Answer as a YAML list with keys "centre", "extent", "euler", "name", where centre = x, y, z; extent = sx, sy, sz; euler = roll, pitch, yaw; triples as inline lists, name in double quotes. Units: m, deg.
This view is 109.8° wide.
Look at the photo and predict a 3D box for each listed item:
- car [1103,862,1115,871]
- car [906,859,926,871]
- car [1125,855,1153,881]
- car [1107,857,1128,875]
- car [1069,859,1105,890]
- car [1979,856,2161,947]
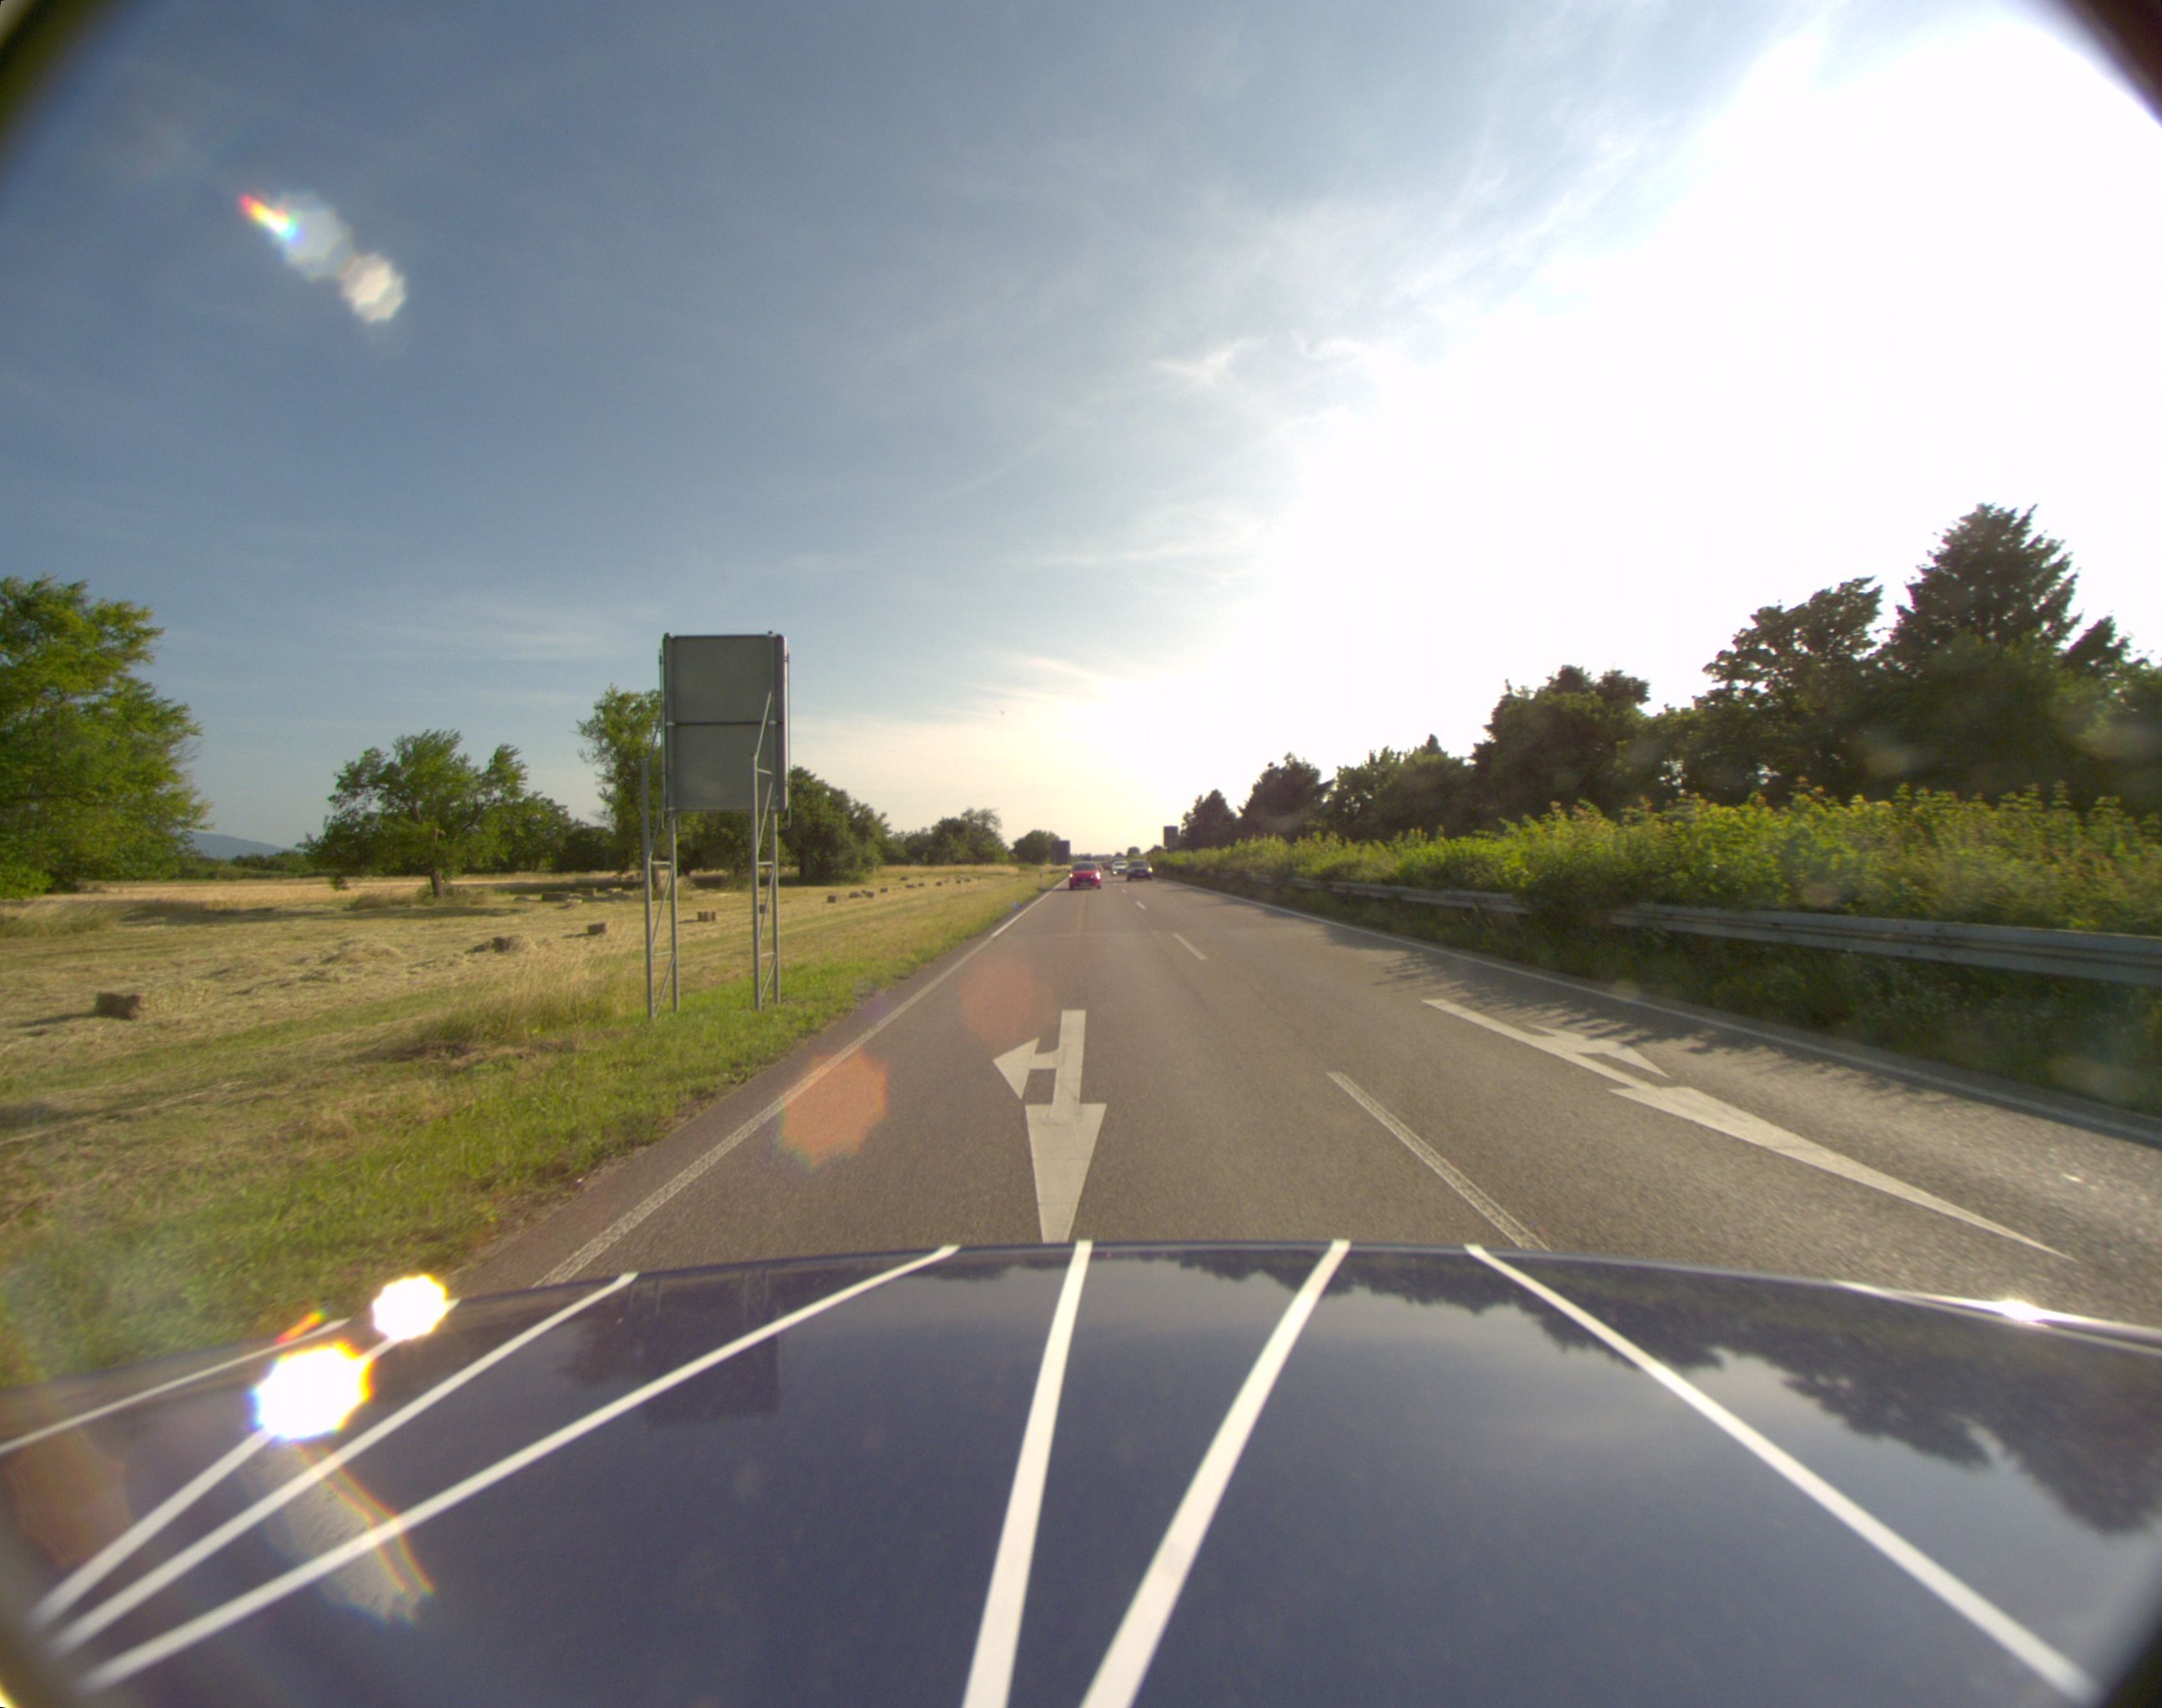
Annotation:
- centre: [4.750, 2.094, 129.699]
  extent: [1.998, 1.411, 4.001]
  euler: [-2, -1, 2]
  name: "car"
- centre: [-24.632, 1.594, 113.548]
  extent: [1.998, 1.739, 4.000]
  euler: [-2, 0, 0]
  name: "car"
- centre: [4.074, 0.980, 53.696]
  extent: [1.693, 1.695, 4.001]
  euler: [-2, 0, 1]
  name: "car"
- centre: [3.647, 1.220, 76.839]
  extent: [1.998, 1.762, 4.001]
  euler: [-2, 0, 2]
  name: "car"
- centre: [0.371, 1.074, 41.789]
  extent: [1.821, 1.564, 4.001]
  euler: [-2, -1, 2]
  name: "car"
- centre: [16.728, 0.691, 11.336]
  extent: [1.898, 1.280, 4.000]
  euler: [-2, -1, 0]
  name: "car"
